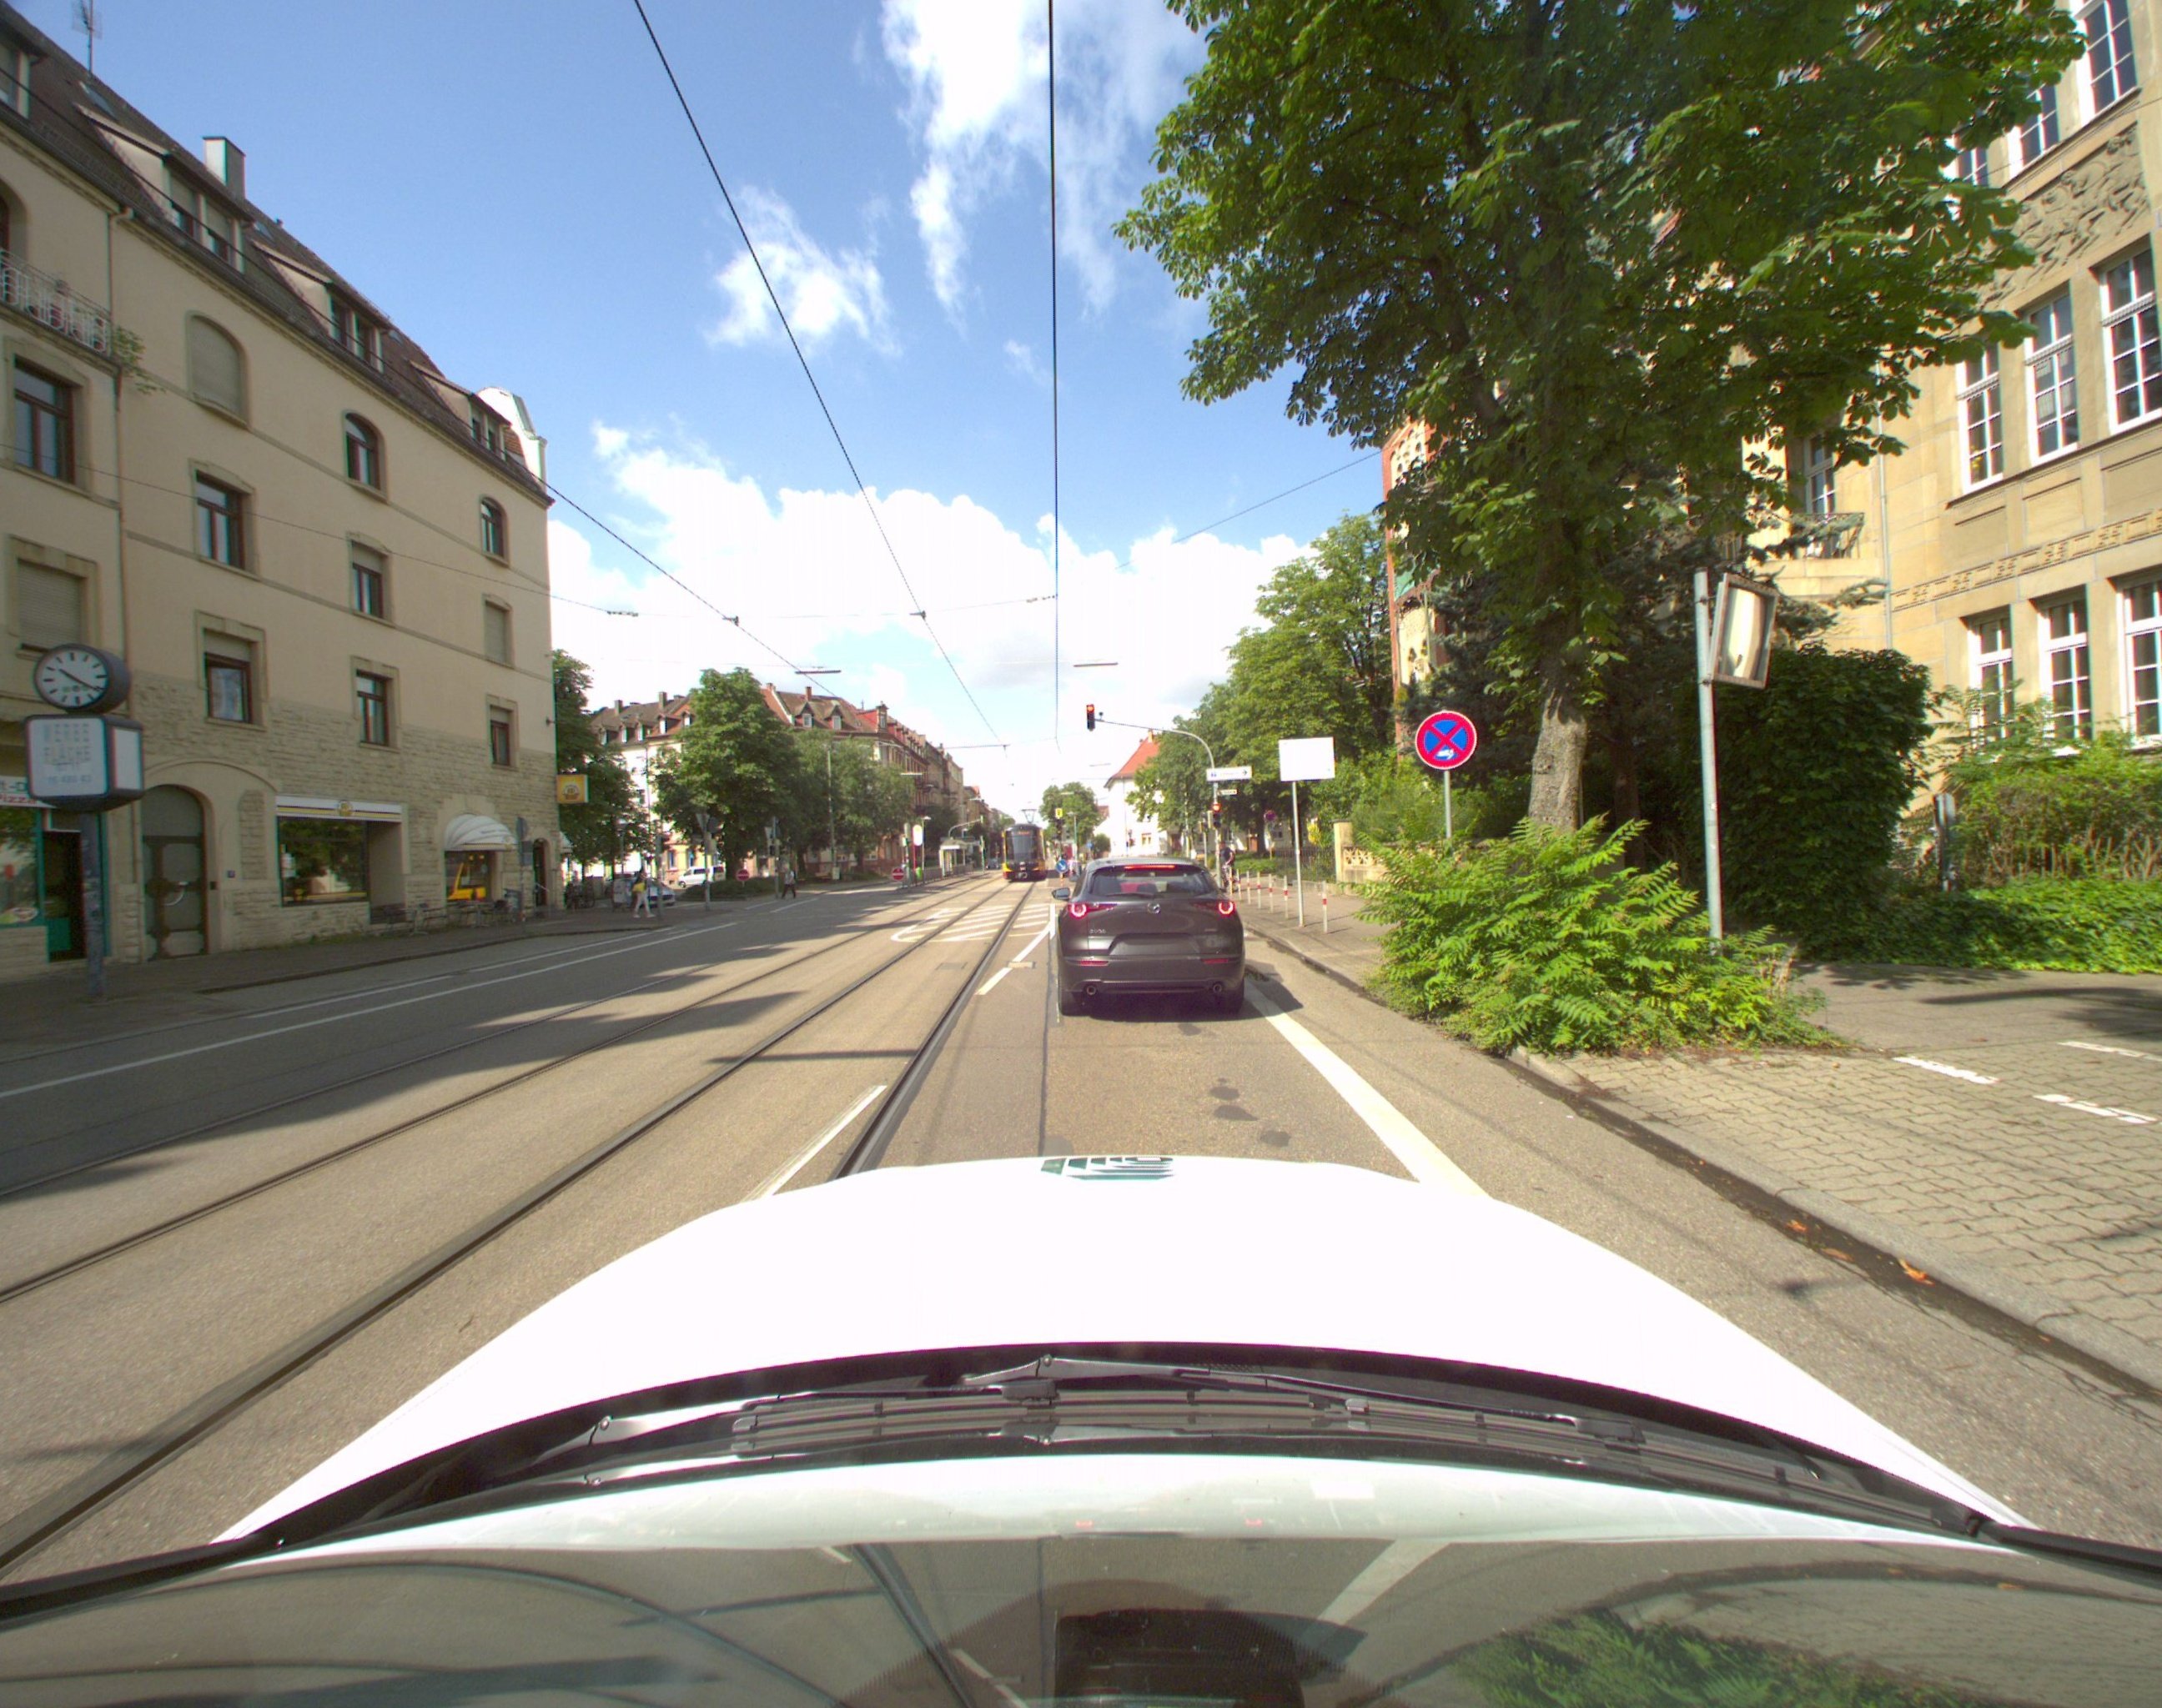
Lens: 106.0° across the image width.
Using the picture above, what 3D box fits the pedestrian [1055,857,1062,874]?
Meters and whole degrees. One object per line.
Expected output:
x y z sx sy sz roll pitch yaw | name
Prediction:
-1.476 0.725 53.095 0.379 1.071 0.474 -3 0 -3 | pedestrian

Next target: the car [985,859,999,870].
-11.833 1.405 108.528 1.610 1.310 3.625 -3 0 -2 | car

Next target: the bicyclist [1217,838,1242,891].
5.139 0.370 28.170 0.608 1.793 0.656 -2 0 -8 | bicyclist

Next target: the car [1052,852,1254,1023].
0.682 0.737 9.222 1.772 1.499 4.001 -1 0 1 | car

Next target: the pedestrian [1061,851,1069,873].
-1.069 0.509 53.202 0.449 1.434 0.474 -3 0 -3 | pedestrian

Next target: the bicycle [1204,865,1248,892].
5.072 0.850 28.444 1.708 0.824 0.488 -3 0 -40 | bicycle

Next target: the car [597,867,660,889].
-37.449 1.960 67.467 3.972 1.596 2.001 -3 0 1 | car

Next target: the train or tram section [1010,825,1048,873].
-4.197 -0.484 68.715 2.746 3.490 14.396 -3 1 -2 | train or tram section

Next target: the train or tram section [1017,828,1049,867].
-4.768 -0.692 83.110 2.746 3.490 14.396 -3 1 -2 | train or tram section

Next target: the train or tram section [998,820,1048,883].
-3.625 -0.265 54.321 2.746 3.490 14.396 -3 1 -2 | train or tram section

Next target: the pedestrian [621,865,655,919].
-15.115 1.279 27.800 0.681 1.754 0.801 -3 0 -1 | pedestrian

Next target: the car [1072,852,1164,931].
0.762 0.726 17.832 1.772 1.499 4.001 -1 0 1 | car

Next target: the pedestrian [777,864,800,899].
-14.778 1.403 41.141 0.817 1.705 0.720 -3 0 7 | pedestrian

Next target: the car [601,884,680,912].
-21.087 2.091 38.934 3.948 1.182 1.689 -3 0 35 | car

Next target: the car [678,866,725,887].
-37.074 2.191 79.558 3.950 1.903 2.012 -3 0 26 | car
